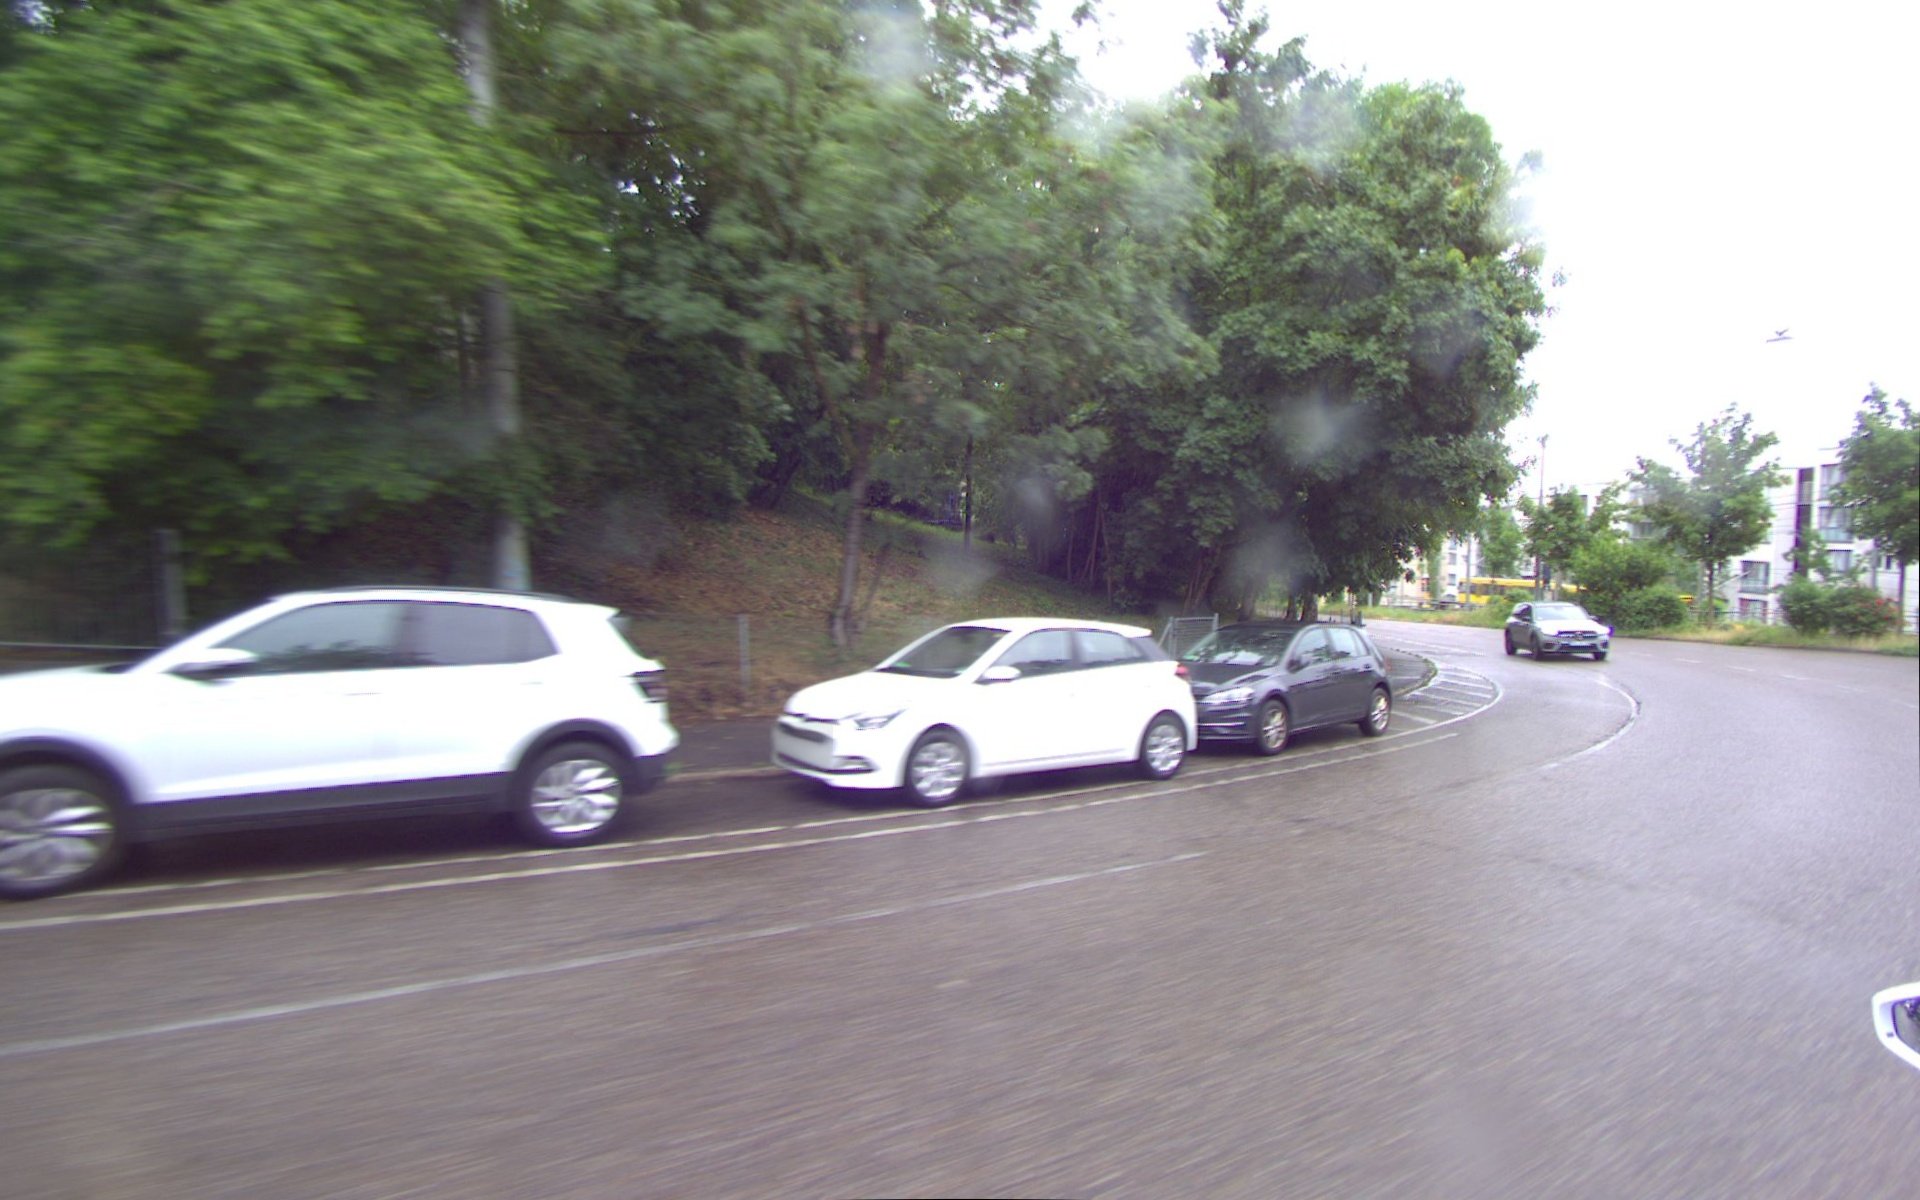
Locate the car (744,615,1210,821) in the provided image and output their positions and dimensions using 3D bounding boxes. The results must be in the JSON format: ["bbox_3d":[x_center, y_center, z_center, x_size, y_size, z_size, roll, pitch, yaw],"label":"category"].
[{"bbox_3d":[0.259,0.905,9.158,4.007,1.476,1.740,1,-1,-35],"label":"car"}]

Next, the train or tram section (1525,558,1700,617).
[{"bbox_3d":[50.124,-0.932,78.519,3.274,4.000,19.290,0,0,7],"label":"train or tram section"}]

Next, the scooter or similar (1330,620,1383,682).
[{"bbox_3d":[8.875,1.122,22.479,0.601,1.285,1.430,5,3,41],"label":"scooter or similar"}]

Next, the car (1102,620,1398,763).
[{"bbox_3d":[3.702,0.986,12.436,3.987,1.462,1.756,1,-1,-43],"label":"car"}]

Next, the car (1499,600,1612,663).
[{"bbox_3d":[17.704,0.880,30.095,1.787,1.692,4.311,-2,0,15],"label":"car"}]

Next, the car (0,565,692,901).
[{"bbox_3d":[-3.927,0.686,6.276,3.982,1.604,1.793,3,-1,-33],"label":"car"}]

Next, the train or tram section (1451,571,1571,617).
[{"bbox_3d":[52.295,-0.603,96.381,3.274,4.000,18.822,0,0,7],"label":"train or tram section"}]
